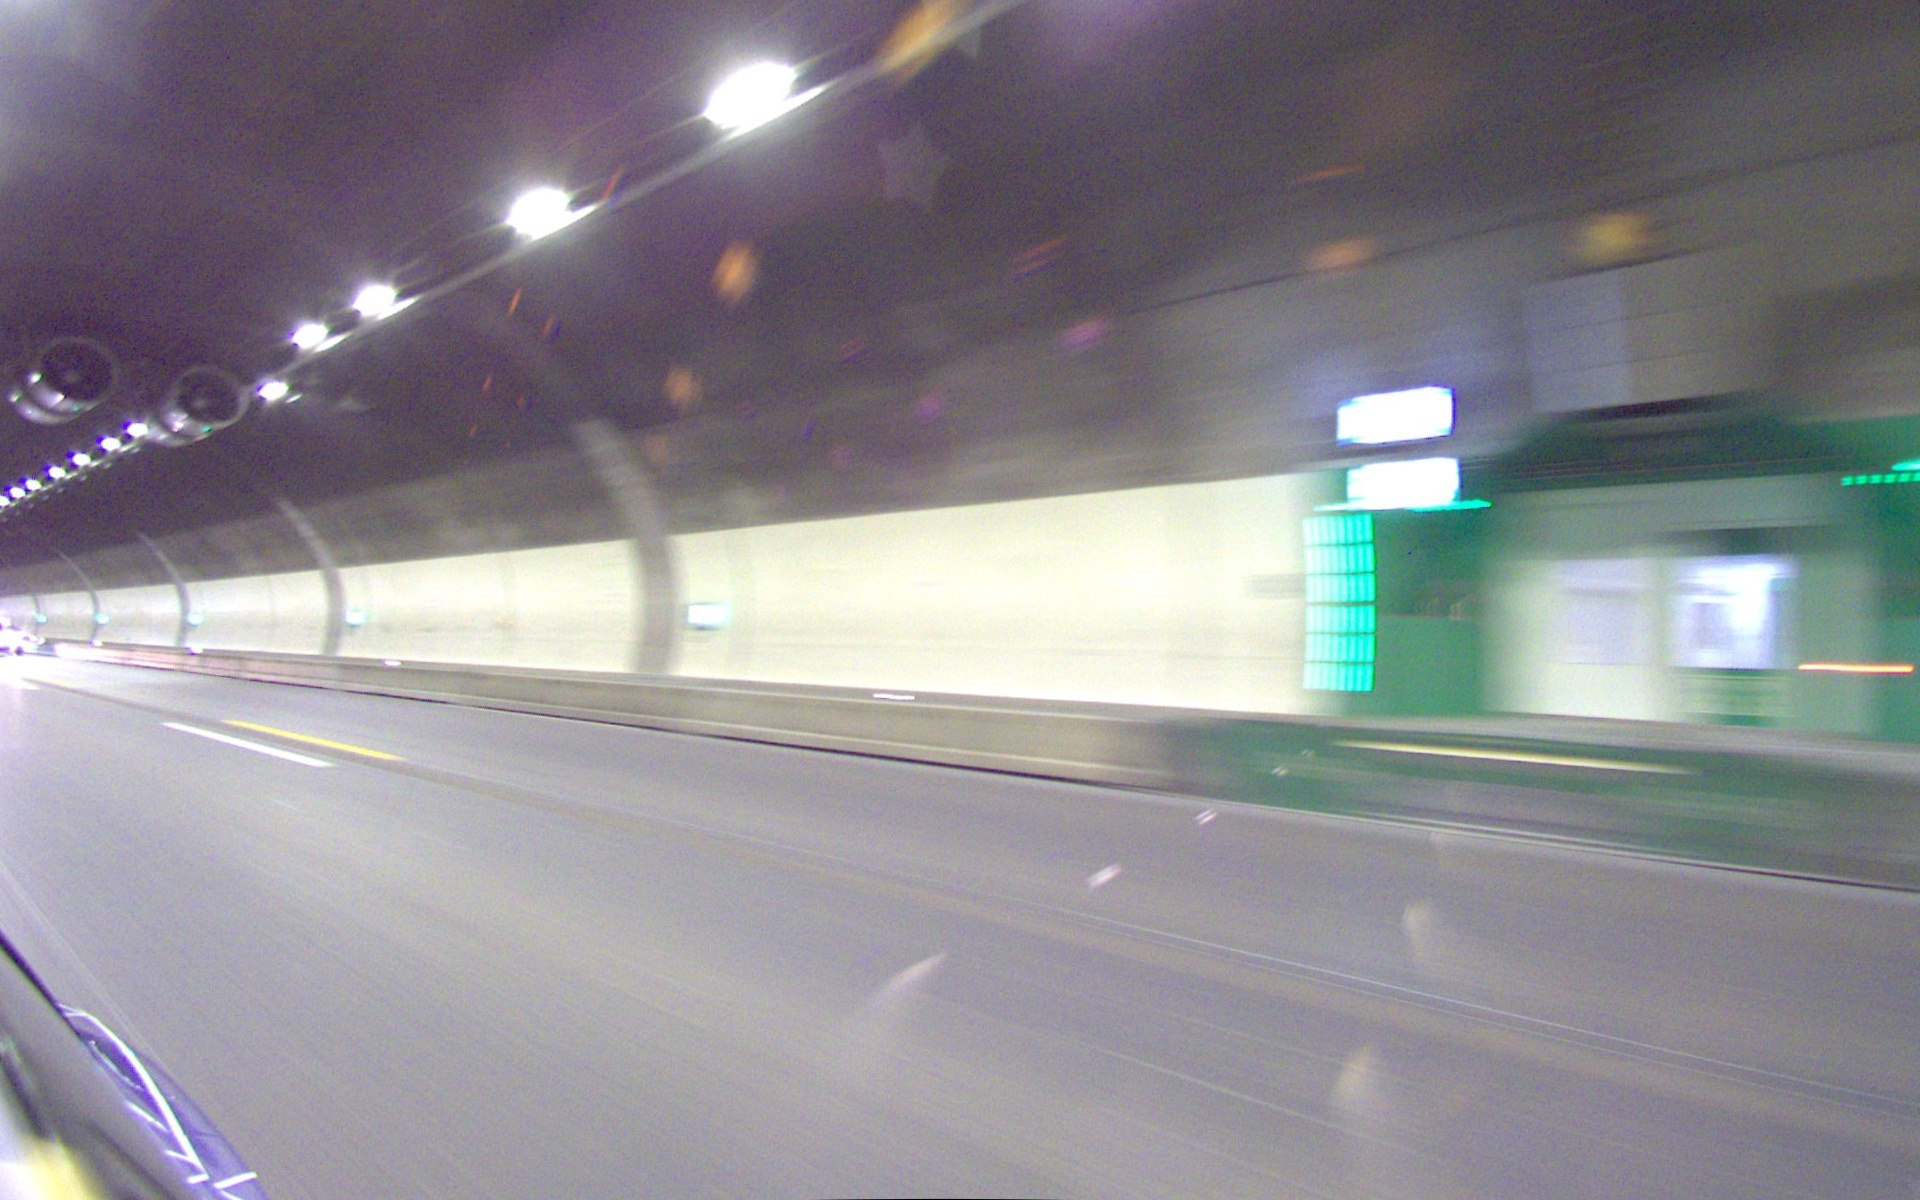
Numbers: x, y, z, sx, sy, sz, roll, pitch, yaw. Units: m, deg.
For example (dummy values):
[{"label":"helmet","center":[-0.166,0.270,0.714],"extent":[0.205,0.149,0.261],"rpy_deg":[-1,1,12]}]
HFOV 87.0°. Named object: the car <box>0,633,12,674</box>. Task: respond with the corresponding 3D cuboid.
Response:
[{"label":"car","center":[-39.592,2.148,40.718],"extent":[4.095,1.584,1.743],"rpy_deg":[-1,-1,41]}]
